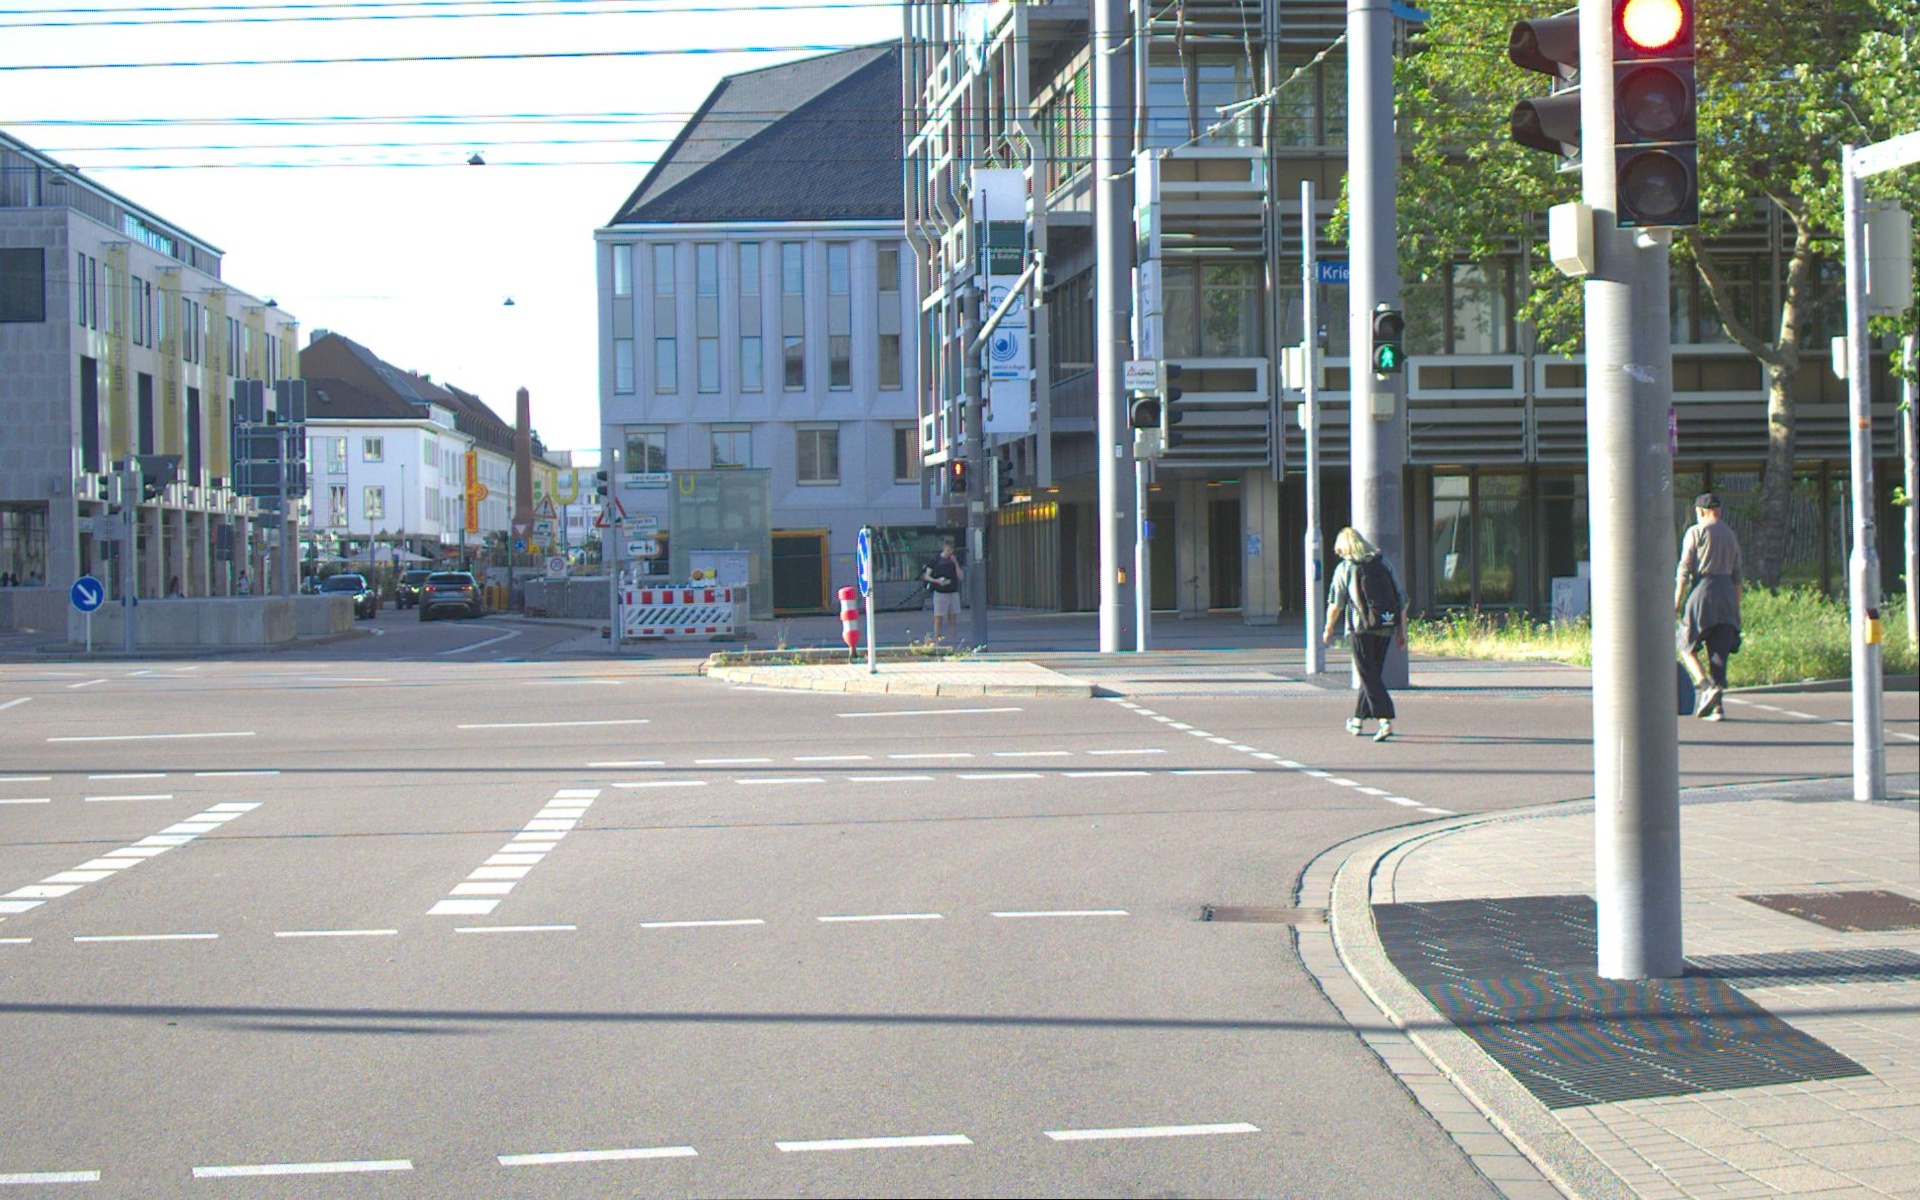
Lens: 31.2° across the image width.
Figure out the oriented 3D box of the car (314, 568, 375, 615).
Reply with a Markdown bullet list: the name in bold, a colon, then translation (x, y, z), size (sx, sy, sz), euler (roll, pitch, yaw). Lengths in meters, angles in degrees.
- **car**: translation (-22.571, -0.333, 126.219), size (1.797, 1.652, 4.001), euler (1, 1, -4)

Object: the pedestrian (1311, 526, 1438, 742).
- **pedestrian**: translation (2.896, 0.233, 24.080), size (0.788, 1.487, 0.644), euler (1, 0, -1)

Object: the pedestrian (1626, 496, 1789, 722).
- **pedestrian**: translation (5.629, 0.063, 25.942), size (0.878, 1.659, 0.965), euler (1, 0, -10)

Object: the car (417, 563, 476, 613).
- **car**: translation (-16.143, -0.379, 108.204), size (1.737, 1.525, 3.856), euler (1, 1, -7)

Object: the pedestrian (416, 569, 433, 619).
- **pedestrian**: translation (-18.248, -0.203, 117.167), size (0.521, 1.674, 0.583), euler (1, 1, -7)

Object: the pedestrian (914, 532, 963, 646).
- **pedestrian**: translation (-0.365, -0.181, 57.310), size (0.788, 1.883, 0.644), euler (1, 0, -1)
